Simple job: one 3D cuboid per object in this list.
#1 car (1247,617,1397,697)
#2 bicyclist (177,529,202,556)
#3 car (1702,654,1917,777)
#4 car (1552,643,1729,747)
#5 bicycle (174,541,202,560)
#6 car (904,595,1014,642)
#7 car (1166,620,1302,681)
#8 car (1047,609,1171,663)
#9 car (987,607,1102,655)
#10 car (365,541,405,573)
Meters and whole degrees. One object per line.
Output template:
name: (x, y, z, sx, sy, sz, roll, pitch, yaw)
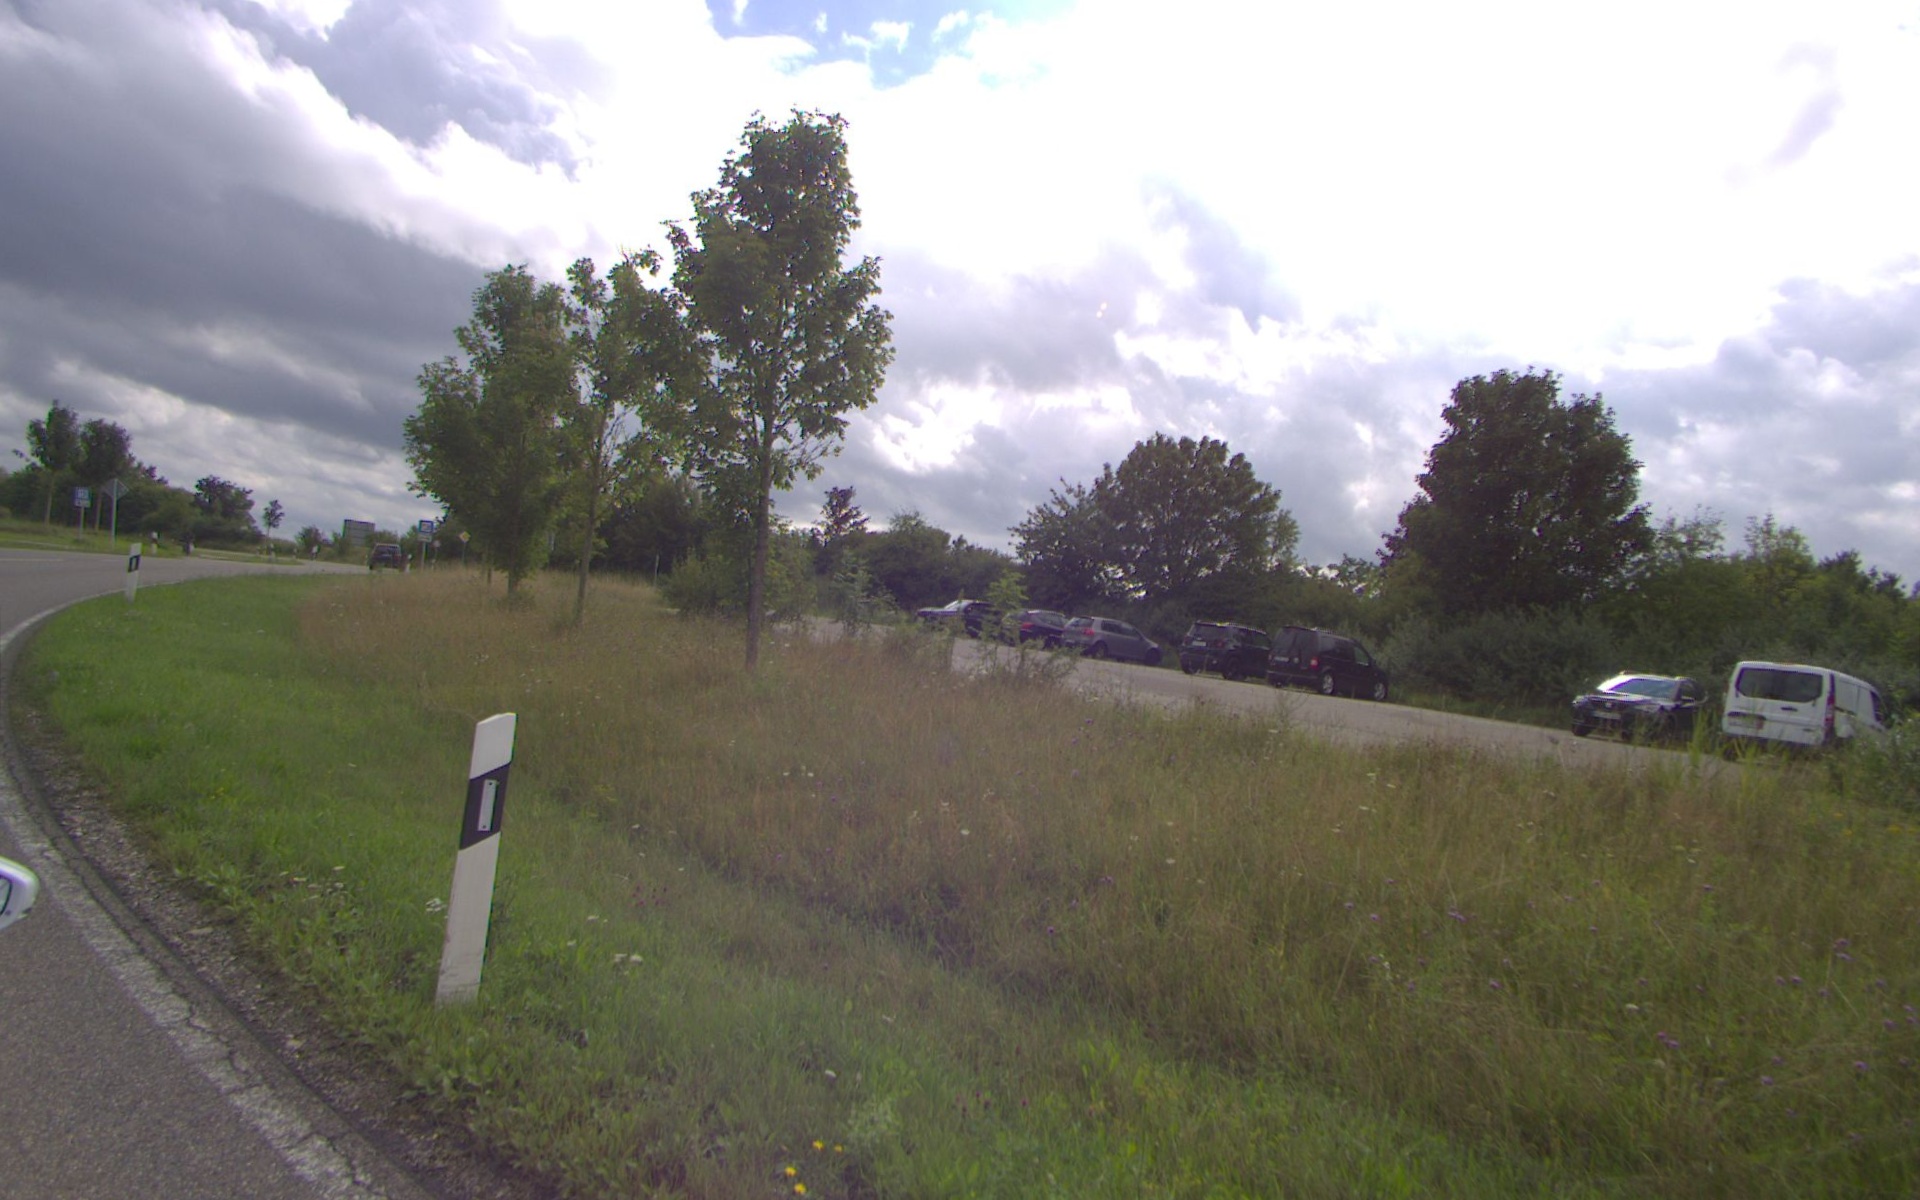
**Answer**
car: (10.375, 1.647, 28.766, 3.961, 1.883, 1.982, 6, -1, -35)
bicyclist: (-47.717, -3.557, 62.287, 0.821, 1.585, 1.052, 5, 0, -17)
car: (15.805, 2.138, 18.678, 3.961, 1.883, 1.982, 6, -1, -35)
car: (14.678, 2.066, 21.650, 3.961, 1.883, 1.729, 6, 0, -35)
bicycle: (-47.694, -3.052, 62.198, 0.628, 1.045, 2.182, 5, -1, -19)
car: (-0.008, 0.833, 43.803, 4.455, 1.600, 1.979, 6, -1, -38)
car: (8.489, 1.582, 31.067, 3.966, 1.515, 1.979, 6, -1, -38)
car: (5.364, 1.295, 36.103, 3.967, 1.524, 2.035, 6, -1, -32)
car: (3.312, 1.217, 38.926, 4.131, 1.431, 1.979, 6, -1, -38)
car: (-36.034, -2.686, 63.023, 1.894, 1.685, 3.968, 8, -2, -32)
